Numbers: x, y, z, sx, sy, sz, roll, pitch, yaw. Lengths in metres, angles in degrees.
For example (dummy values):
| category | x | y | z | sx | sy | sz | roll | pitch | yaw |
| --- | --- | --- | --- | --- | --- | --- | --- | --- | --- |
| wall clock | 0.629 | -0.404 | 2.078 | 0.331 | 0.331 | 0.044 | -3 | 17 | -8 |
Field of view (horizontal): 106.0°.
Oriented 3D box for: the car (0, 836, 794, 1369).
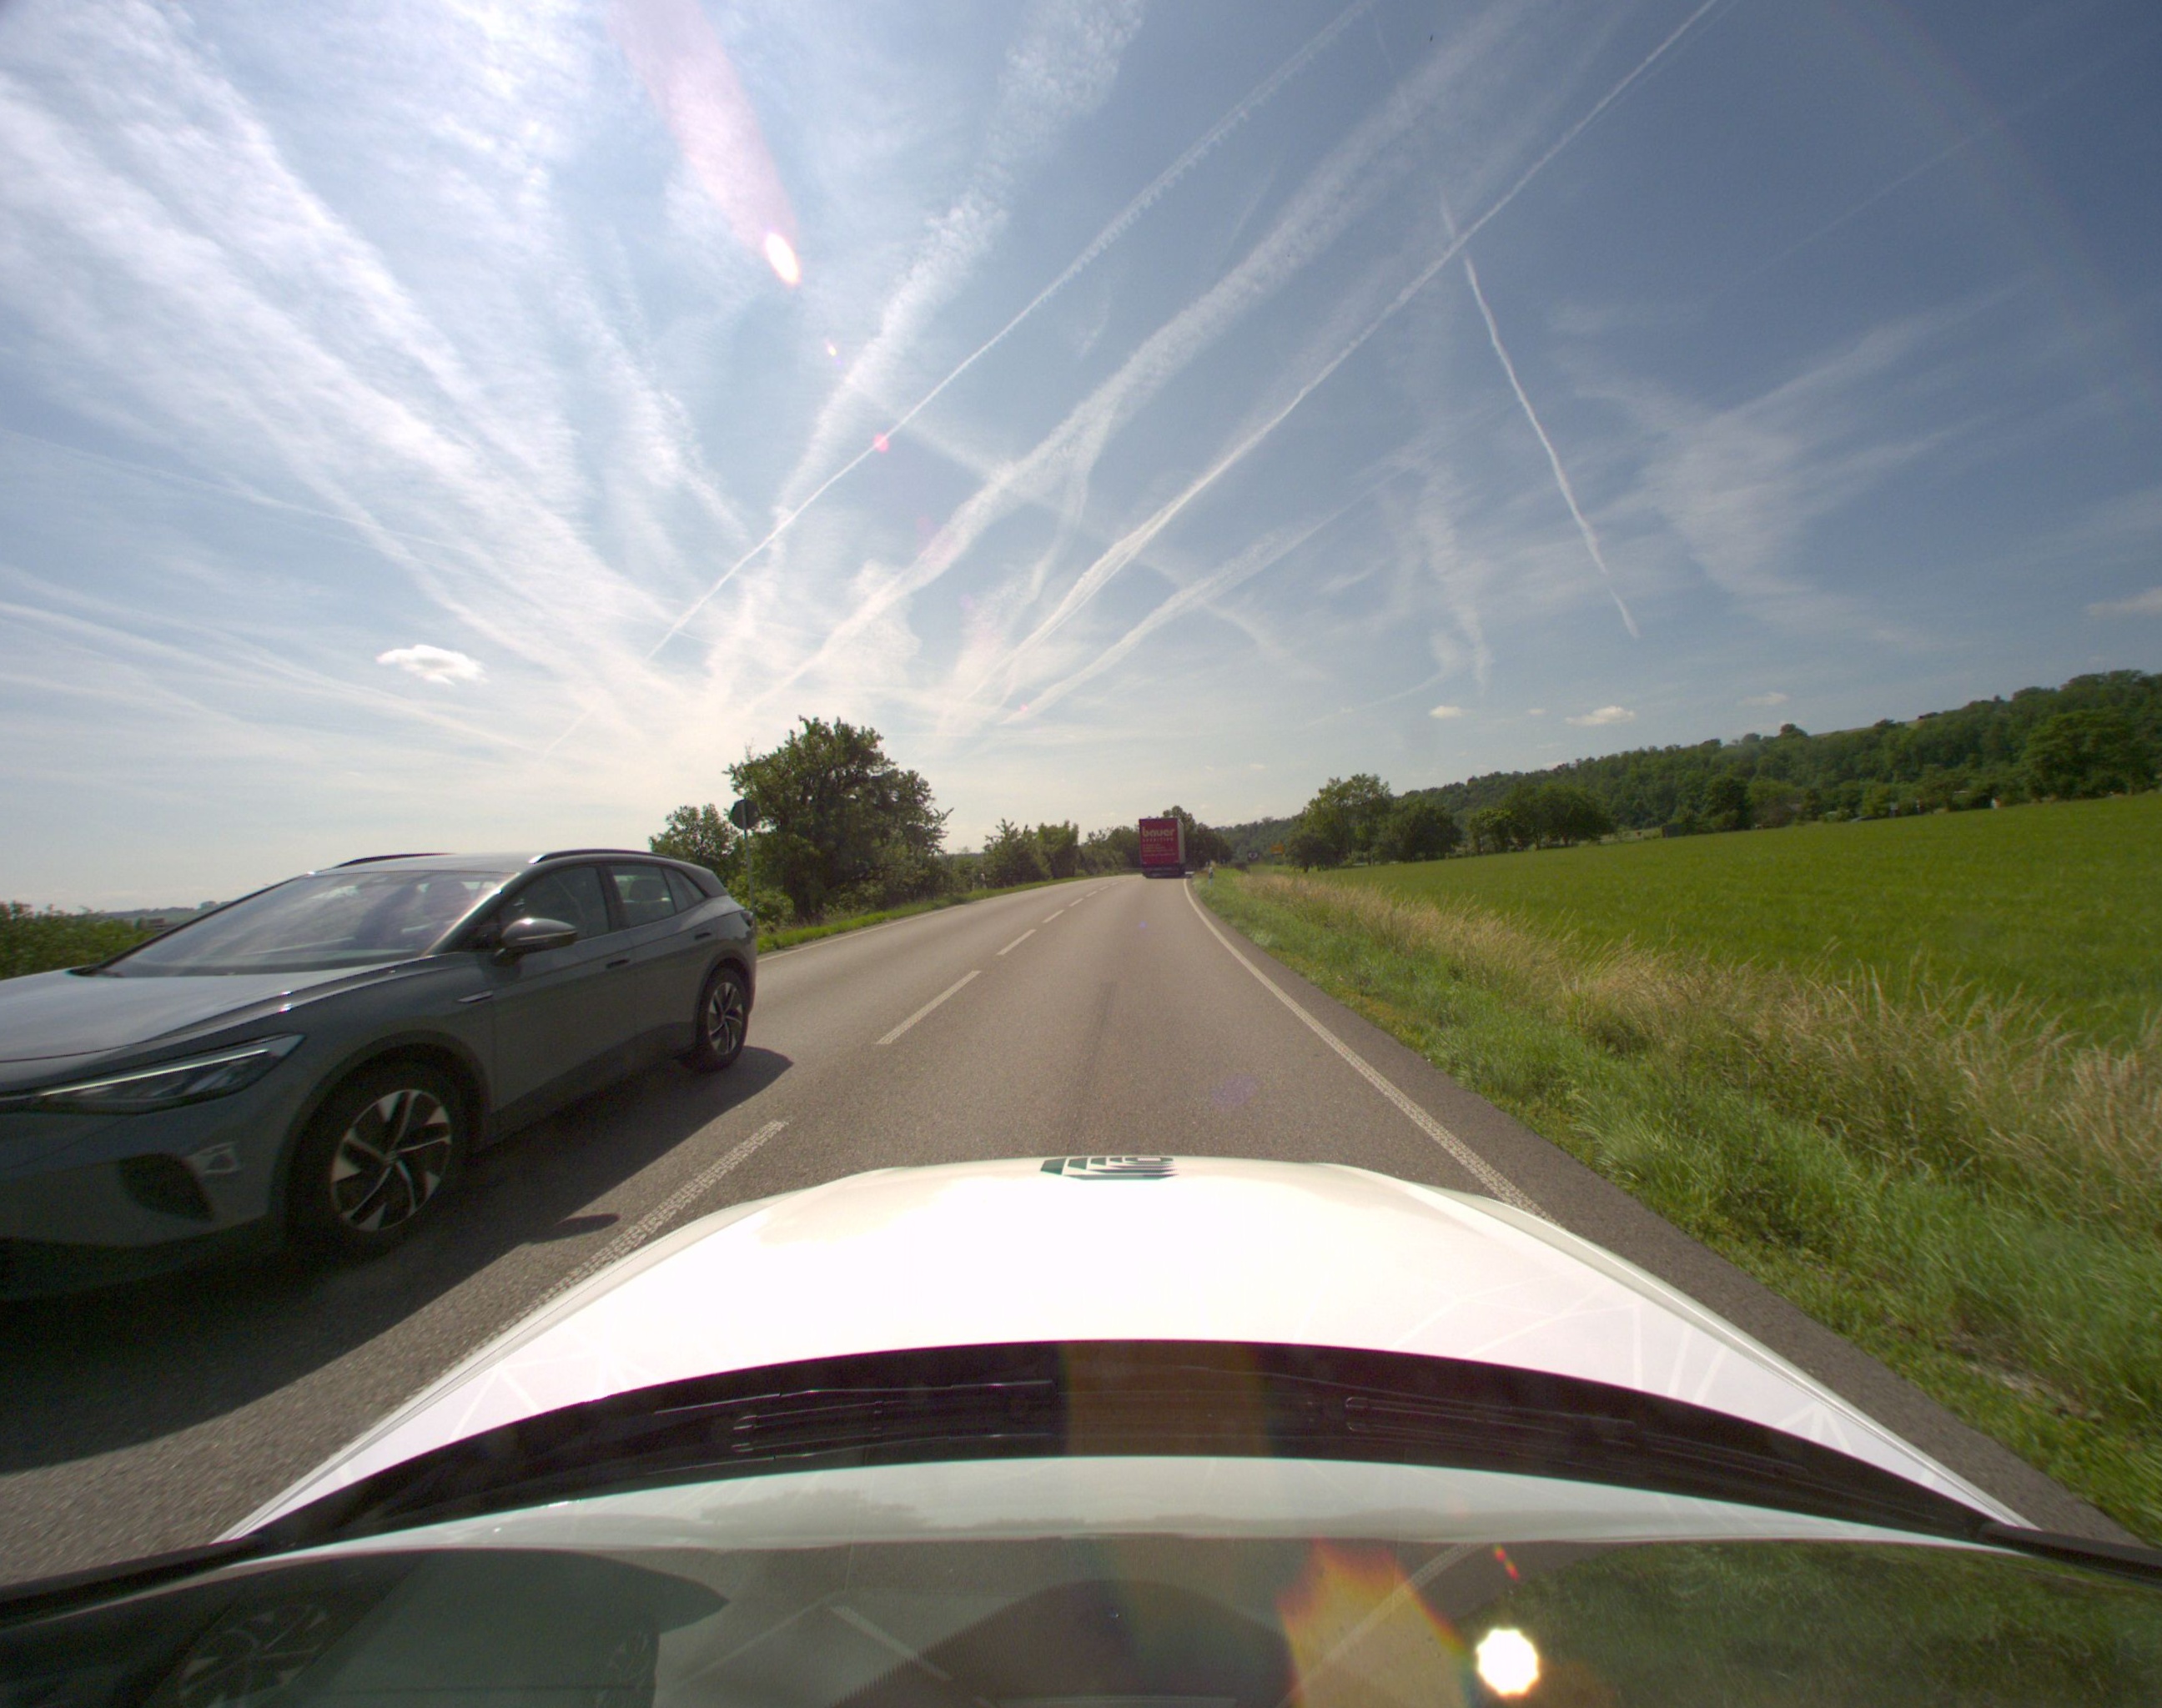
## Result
| category | x | y | z | sx | sy | sz | roll | pitch | yaw |
| --- | --- | --- | --- | --- | --- | --- | --- | --- | --- |
| car | -3.503 | 0.780 | 4.721 | 1.872 | 1.593 | 4.494 | -2 | 0 | 2 |

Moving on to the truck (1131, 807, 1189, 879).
| category | x | y | z | sx | sy | sz | roll | pitch | yaw |
| --- | --- | --- | --- | --- | --- | --- | --- | --- | --- |
| truck | 5.878 | -0.697 | 58.545 | 3.093 | 4.506 | 12.200 | -2 | 0 | 10 |

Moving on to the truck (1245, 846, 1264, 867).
| category | x | y | z | sx | sy | sz | roll | pitch | yaw |
| --- | --- | --- | --- | --- | --- | --- | --- | --- | --- |
| truck | 43.038 | 0.776 | 201.667 | 3.875 | 4.690 | 16.438 | -3 | -2 | 14 |
